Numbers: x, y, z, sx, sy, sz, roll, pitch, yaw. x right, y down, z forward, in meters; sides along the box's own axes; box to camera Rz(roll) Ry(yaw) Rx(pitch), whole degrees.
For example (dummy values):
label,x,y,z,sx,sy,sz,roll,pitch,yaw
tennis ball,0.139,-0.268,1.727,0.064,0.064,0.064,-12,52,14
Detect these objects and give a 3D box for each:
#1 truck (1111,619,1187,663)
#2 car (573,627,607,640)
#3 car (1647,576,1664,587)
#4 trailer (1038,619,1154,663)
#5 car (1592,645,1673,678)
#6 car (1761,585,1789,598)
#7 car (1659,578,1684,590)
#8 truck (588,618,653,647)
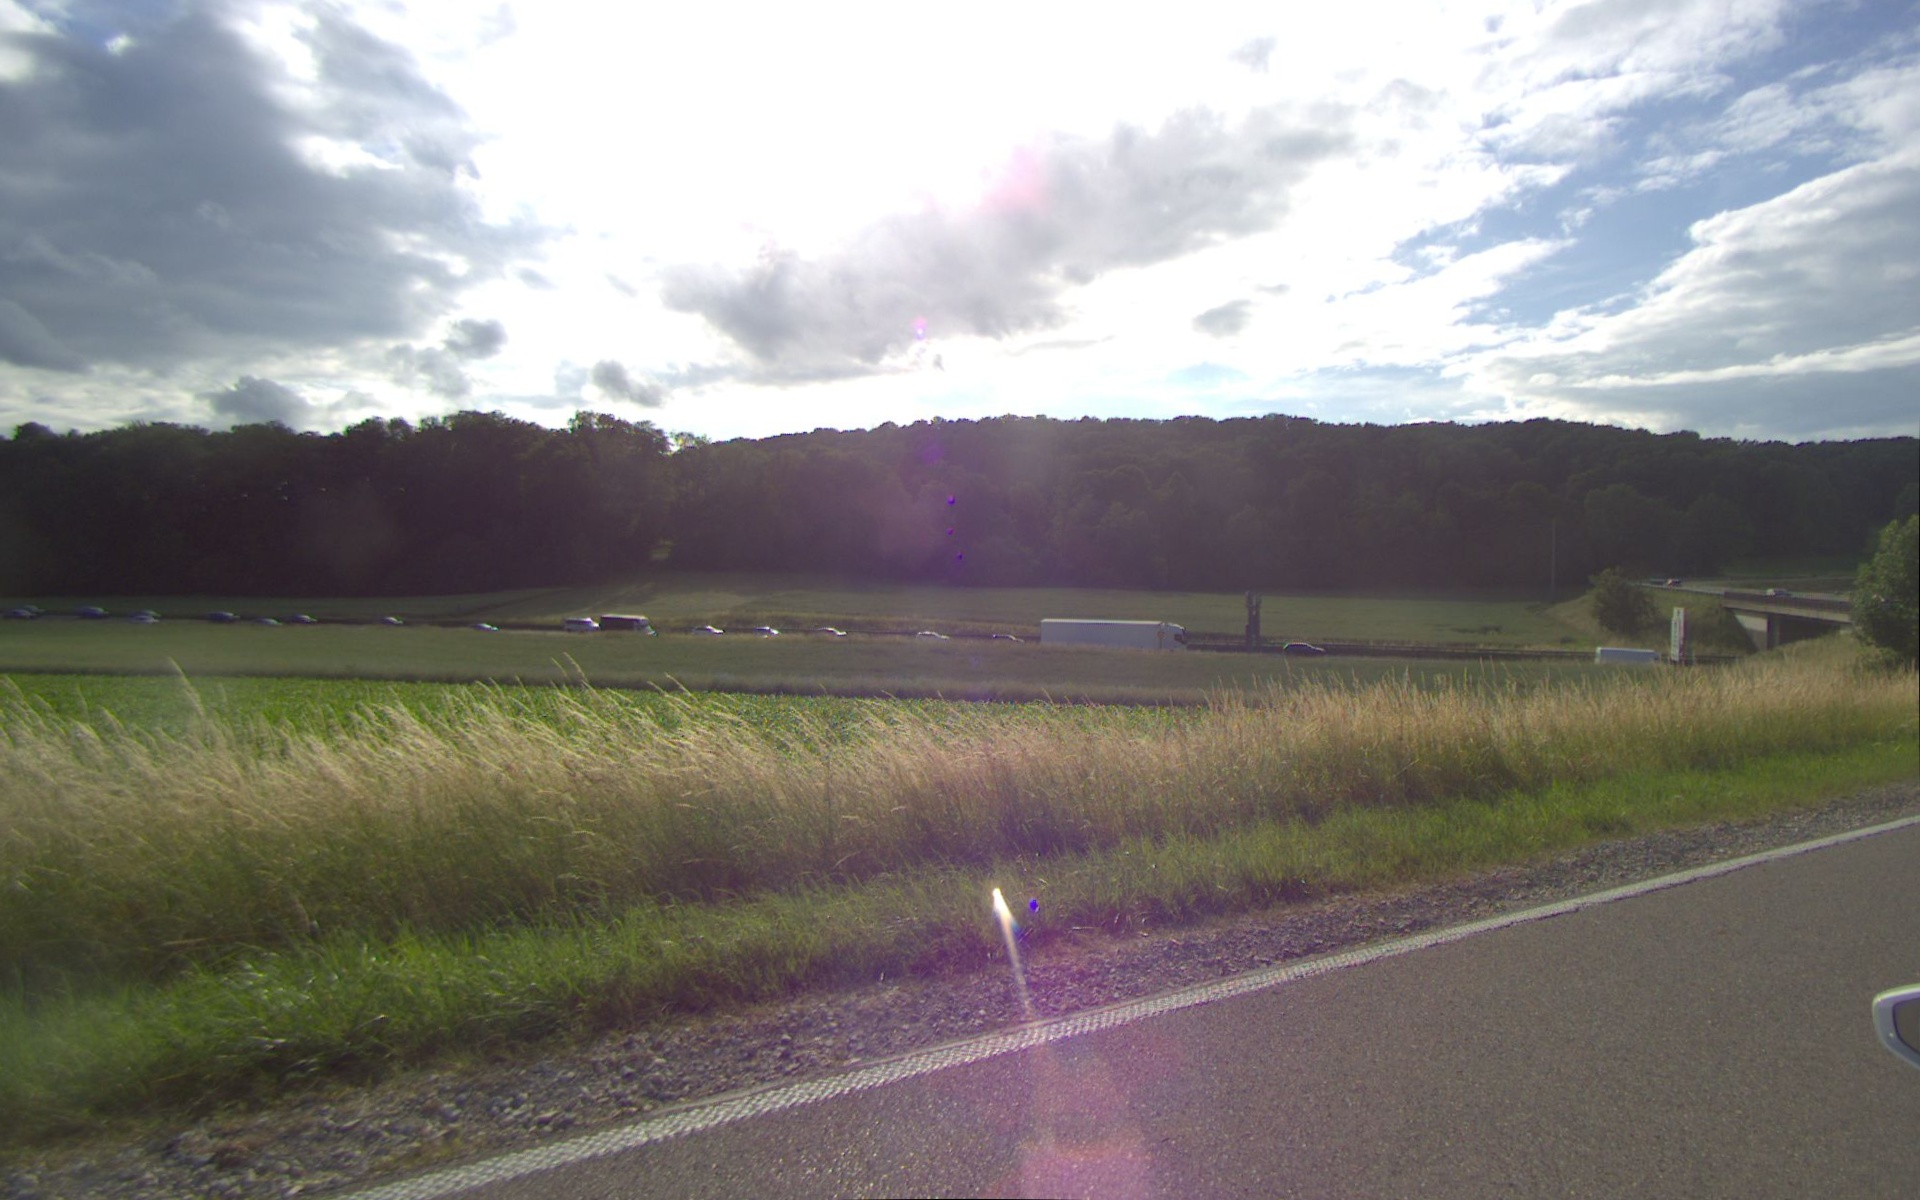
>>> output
label,x,y,z,sx,sy,sz,roll,pitch,yaw
truck,20.891,4.489,110.815,7.894,4.530,3.029,0,4,17
car,-50.981,4.624,138.491,3.920,1.750,2.001,1,-3,16
car,120.012,-3.184,173.348,1.964,1.795,3.994,-3,0,28
trailer,15.206,4.547,112.554,12.472,4.530,3.032,0,4,17
car,63.502,5.777,95.028,6.006,2.620,2.371,-1,6,24
car,87.062,-0.907,107.288,1.448,1.244,3.297,1,2,24
car,103.951,-2.378,146.744,1.961,1.702,4.175,3,3,22
truck,-44.227,4.219,130.762,8.330,3.450,2.123,-3,0,20
